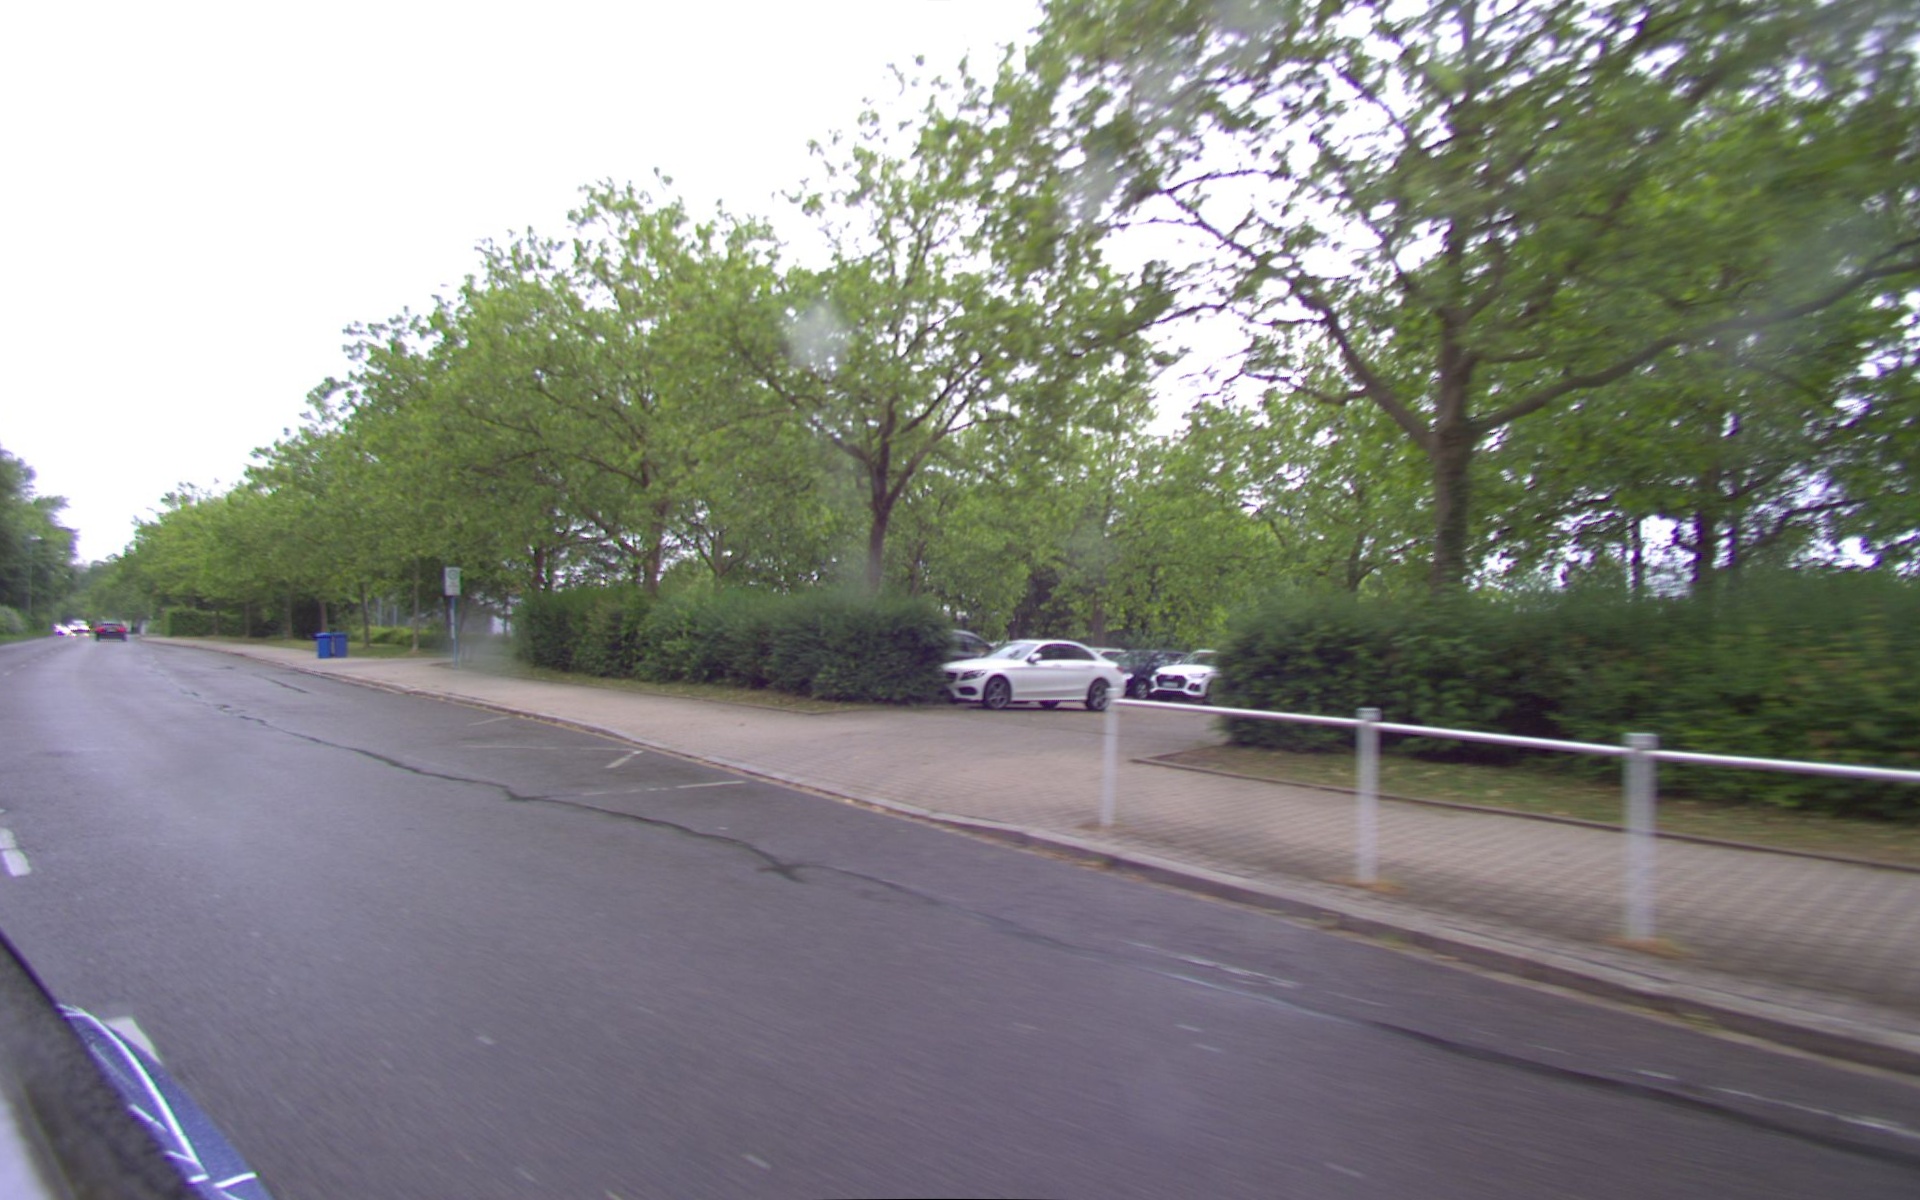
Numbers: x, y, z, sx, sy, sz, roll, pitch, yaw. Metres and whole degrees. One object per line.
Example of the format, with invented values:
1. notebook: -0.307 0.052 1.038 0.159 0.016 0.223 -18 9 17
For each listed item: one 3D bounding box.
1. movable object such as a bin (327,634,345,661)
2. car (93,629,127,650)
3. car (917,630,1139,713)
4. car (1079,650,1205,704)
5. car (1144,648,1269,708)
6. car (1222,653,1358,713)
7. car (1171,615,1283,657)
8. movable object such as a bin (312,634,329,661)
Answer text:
1. movable object such as a bin: -27.080 2.049 43.898 0.559 1.107 0.673 -1 0 -38
2. car: -63.318 2.930 75.455 1.803 1.476 4.007 3 -3 -39
3. car: 1.479 1.518 21.152 4.438 1.522 1.804 5 -5 -35
4. car: 5.743 2.418 31.715 3.938 1.522 1.802 6 -5 -41
5. car: 7.343 2.335 29.976 1.801 1.617 3.988 -1 -5 44
6. car: 9.380 2.367 28.628 3.936 1.522 1.803 6 -5 -39
7. car: 13.444 1.823 51.119 4.889 2.029 2.324 -2 -2 41
8. movable object such as a bin: -27.373 2.043 43.313 0.559 1.107 0.673 -1 0 -38
